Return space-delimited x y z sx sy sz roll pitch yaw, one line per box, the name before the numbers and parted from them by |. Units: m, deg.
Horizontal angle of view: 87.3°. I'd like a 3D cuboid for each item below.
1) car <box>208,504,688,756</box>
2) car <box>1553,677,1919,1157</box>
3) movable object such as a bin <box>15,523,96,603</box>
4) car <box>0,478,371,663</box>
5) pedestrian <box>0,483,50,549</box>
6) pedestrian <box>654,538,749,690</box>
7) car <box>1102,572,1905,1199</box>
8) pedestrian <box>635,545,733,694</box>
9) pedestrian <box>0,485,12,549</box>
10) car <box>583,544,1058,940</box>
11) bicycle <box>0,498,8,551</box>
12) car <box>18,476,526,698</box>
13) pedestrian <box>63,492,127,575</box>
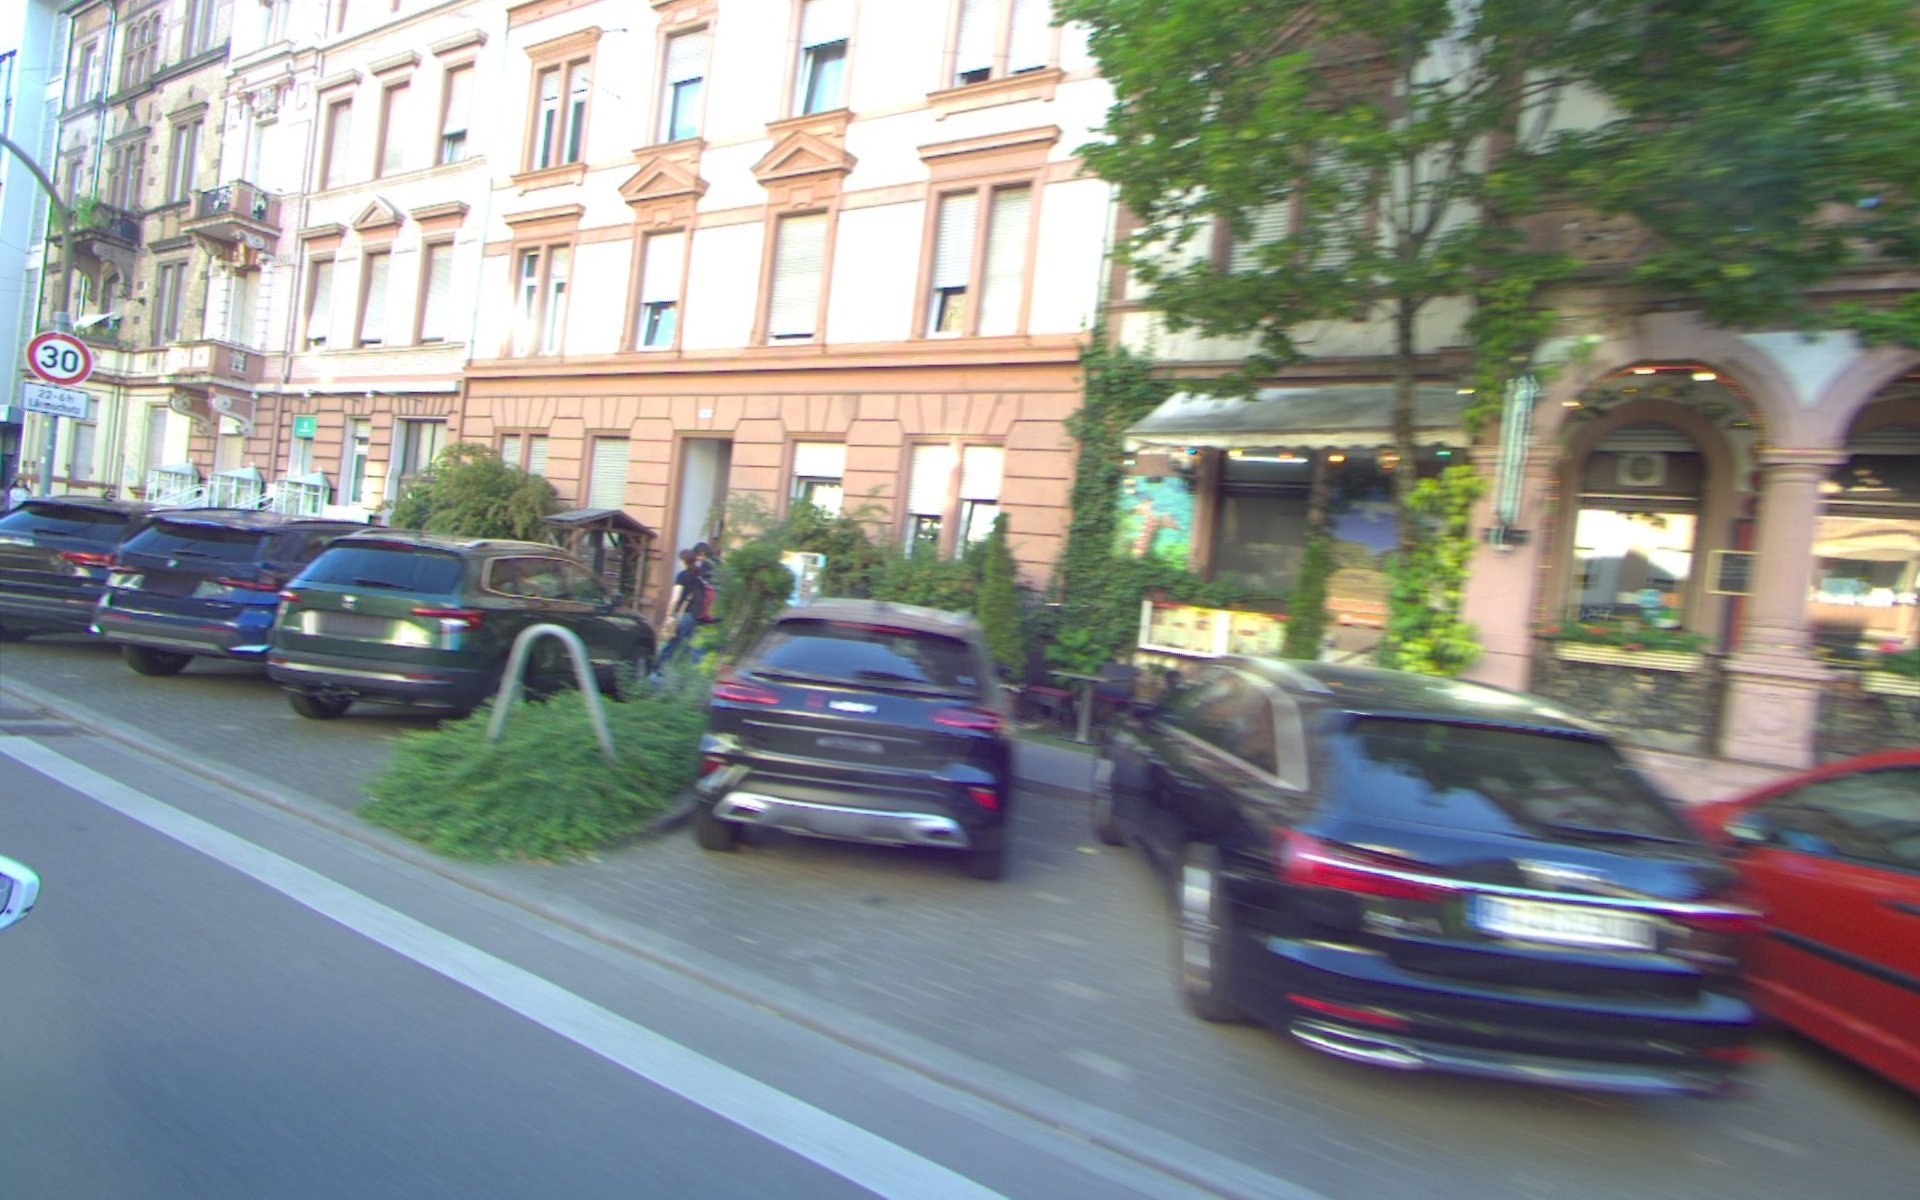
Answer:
car | -4.321 0.298 9.360 1.922 1.614 4.004 7 -2 7
car | 4.340 1.257 3.946 1.882 1.554 4.004 7 -2 7
movable object such as a bin | -13.111 -0.535 14.584 0.792 1.040 0.605 6 0 32
car | -9.091 -0.273 11.560 1.946 1.614 4.319 7 -2 0
pedestrian | -24.733 -2.216 26.594 0.643 1.626 0.713 6 -1 31
pedestrian | -3.255 0.174 12.646 0.849 1.799 0.518 6 -1 32
car | 1.907 0.941 5.253 2.049 1.614 4.454 7 -2 7
pedestrian | -3.290 0.230 11.991 0.849 1.668 0.518 6 -1 32
pedestrian | -24.996 -2.180 25.871 0.643 1.628 0.712 7 3 31
car | -0.492 0.599 6.888 2.006 1.617 4.329 7 3 7
bicycle | -23.308 -1.878 23.012 0.652 1.236 2.060 6 -1 29
car | -6.622 -0.027 10.369 2.048 1.614 4.004 7 -2 7
pedestrian | -18.108 -1.387 21.069 0.643 1.626 0.713 6 -1 31
